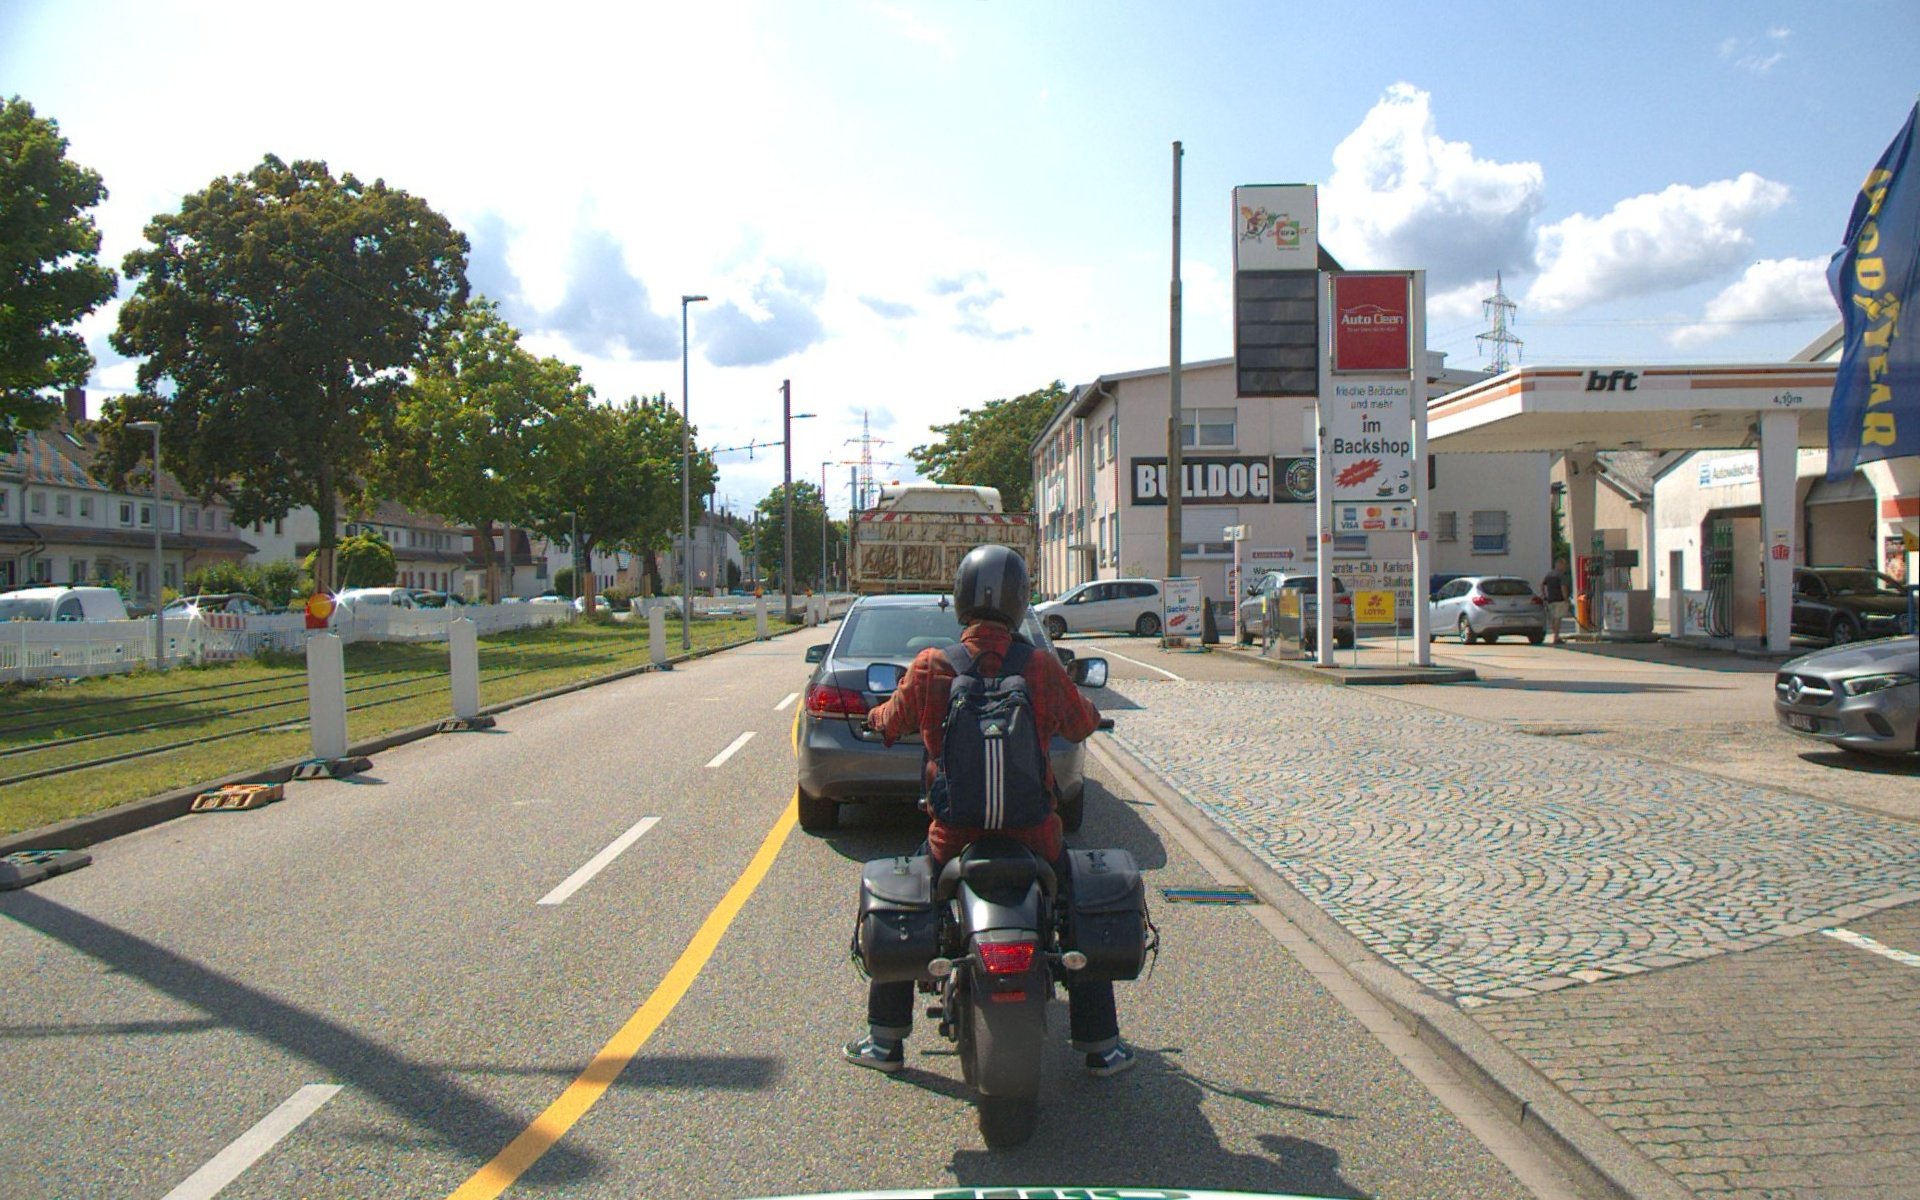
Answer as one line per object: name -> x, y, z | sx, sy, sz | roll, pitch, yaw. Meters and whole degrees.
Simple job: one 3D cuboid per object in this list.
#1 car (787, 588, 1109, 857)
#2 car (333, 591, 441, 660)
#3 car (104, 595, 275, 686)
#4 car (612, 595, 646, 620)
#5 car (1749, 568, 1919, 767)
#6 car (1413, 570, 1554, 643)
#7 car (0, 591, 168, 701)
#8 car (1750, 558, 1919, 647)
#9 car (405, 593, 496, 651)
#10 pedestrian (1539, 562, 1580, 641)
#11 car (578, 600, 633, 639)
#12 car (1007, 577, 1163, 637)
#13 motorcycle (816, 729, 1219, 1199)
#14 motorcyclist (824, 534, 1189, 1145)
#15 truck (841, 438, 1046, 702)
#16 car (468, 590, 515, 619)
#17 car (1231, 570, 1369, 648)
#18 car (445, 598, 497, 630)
car -> -0.096, 0.680, 11.308 | 1.786, 1.478, 3.999 | 1, 0, -1
car -> -16.941, 0.711, 49.083 | 1.740, 1.900, 4.127 | -1, 0, -1
car -> -16.674, 0.828, 36.027 | 1.740, 1.805, 4.227 | -1, 0, -1
car -> -24.963, 0.541, 124.853 | 1.740, 1.753, 4.127 | -1, 0, -1
car -> 8.584, 0.450, 12.750 | 4.182, 1.440, 1.675 | -1, 0, 4
car -> 11.721, 0.118, 37.266 | 1.770, 1.529, 3.831 | -1, 0, -3
car -> -16.466, 0.781, 30.389 | 1.740, 1.853, 4.363 | -1, 0, -1
car -> 16.484, 0.024, 30.612 | 1.770, 1.529, 3.832 | -1, 0, -3
car -> -16.972, 0.695, 55.262 | 1.740, 1.837, 4.127 | -1, 0, -1
pedestrian -> 12.953, 0.029, 35.713 | 0.696, 1.685, 0.546 | -1, 0, 35
car -> -17.056, 0.904, 79.751 | 1.740, 1.753, 4.127 | -1, 0, -1
car -> 3.546, 0.182, 47.113 | 4.152, 1.570, 1.669 | -1, 0, -9
motorcycle -> 0.122, 0.995, 5.324 | 0.959, 0.913, 2.653 | -1, 0, -1
motorcyclist -> 0.120, 0.641, 5.018 | 0.959, 1.630, 1.087 | -1, 0, -1
truck -> -0.264, -0.425, 25.366 | 2.585, 3.354, 8.055 | -1, 0, -1
car -> -29.425, 0.268, 103.953 | 1.740, 1.753, 4.127 | -1, 0, -1
car -> 7.457, 0.174, 36.631 | 1.636, 1.589, 4.236 | -1, 0, -8
car -> -28.299, 0.772, 95.835 | 1.740, 1.753, 4.127 | -1, 0, -1
